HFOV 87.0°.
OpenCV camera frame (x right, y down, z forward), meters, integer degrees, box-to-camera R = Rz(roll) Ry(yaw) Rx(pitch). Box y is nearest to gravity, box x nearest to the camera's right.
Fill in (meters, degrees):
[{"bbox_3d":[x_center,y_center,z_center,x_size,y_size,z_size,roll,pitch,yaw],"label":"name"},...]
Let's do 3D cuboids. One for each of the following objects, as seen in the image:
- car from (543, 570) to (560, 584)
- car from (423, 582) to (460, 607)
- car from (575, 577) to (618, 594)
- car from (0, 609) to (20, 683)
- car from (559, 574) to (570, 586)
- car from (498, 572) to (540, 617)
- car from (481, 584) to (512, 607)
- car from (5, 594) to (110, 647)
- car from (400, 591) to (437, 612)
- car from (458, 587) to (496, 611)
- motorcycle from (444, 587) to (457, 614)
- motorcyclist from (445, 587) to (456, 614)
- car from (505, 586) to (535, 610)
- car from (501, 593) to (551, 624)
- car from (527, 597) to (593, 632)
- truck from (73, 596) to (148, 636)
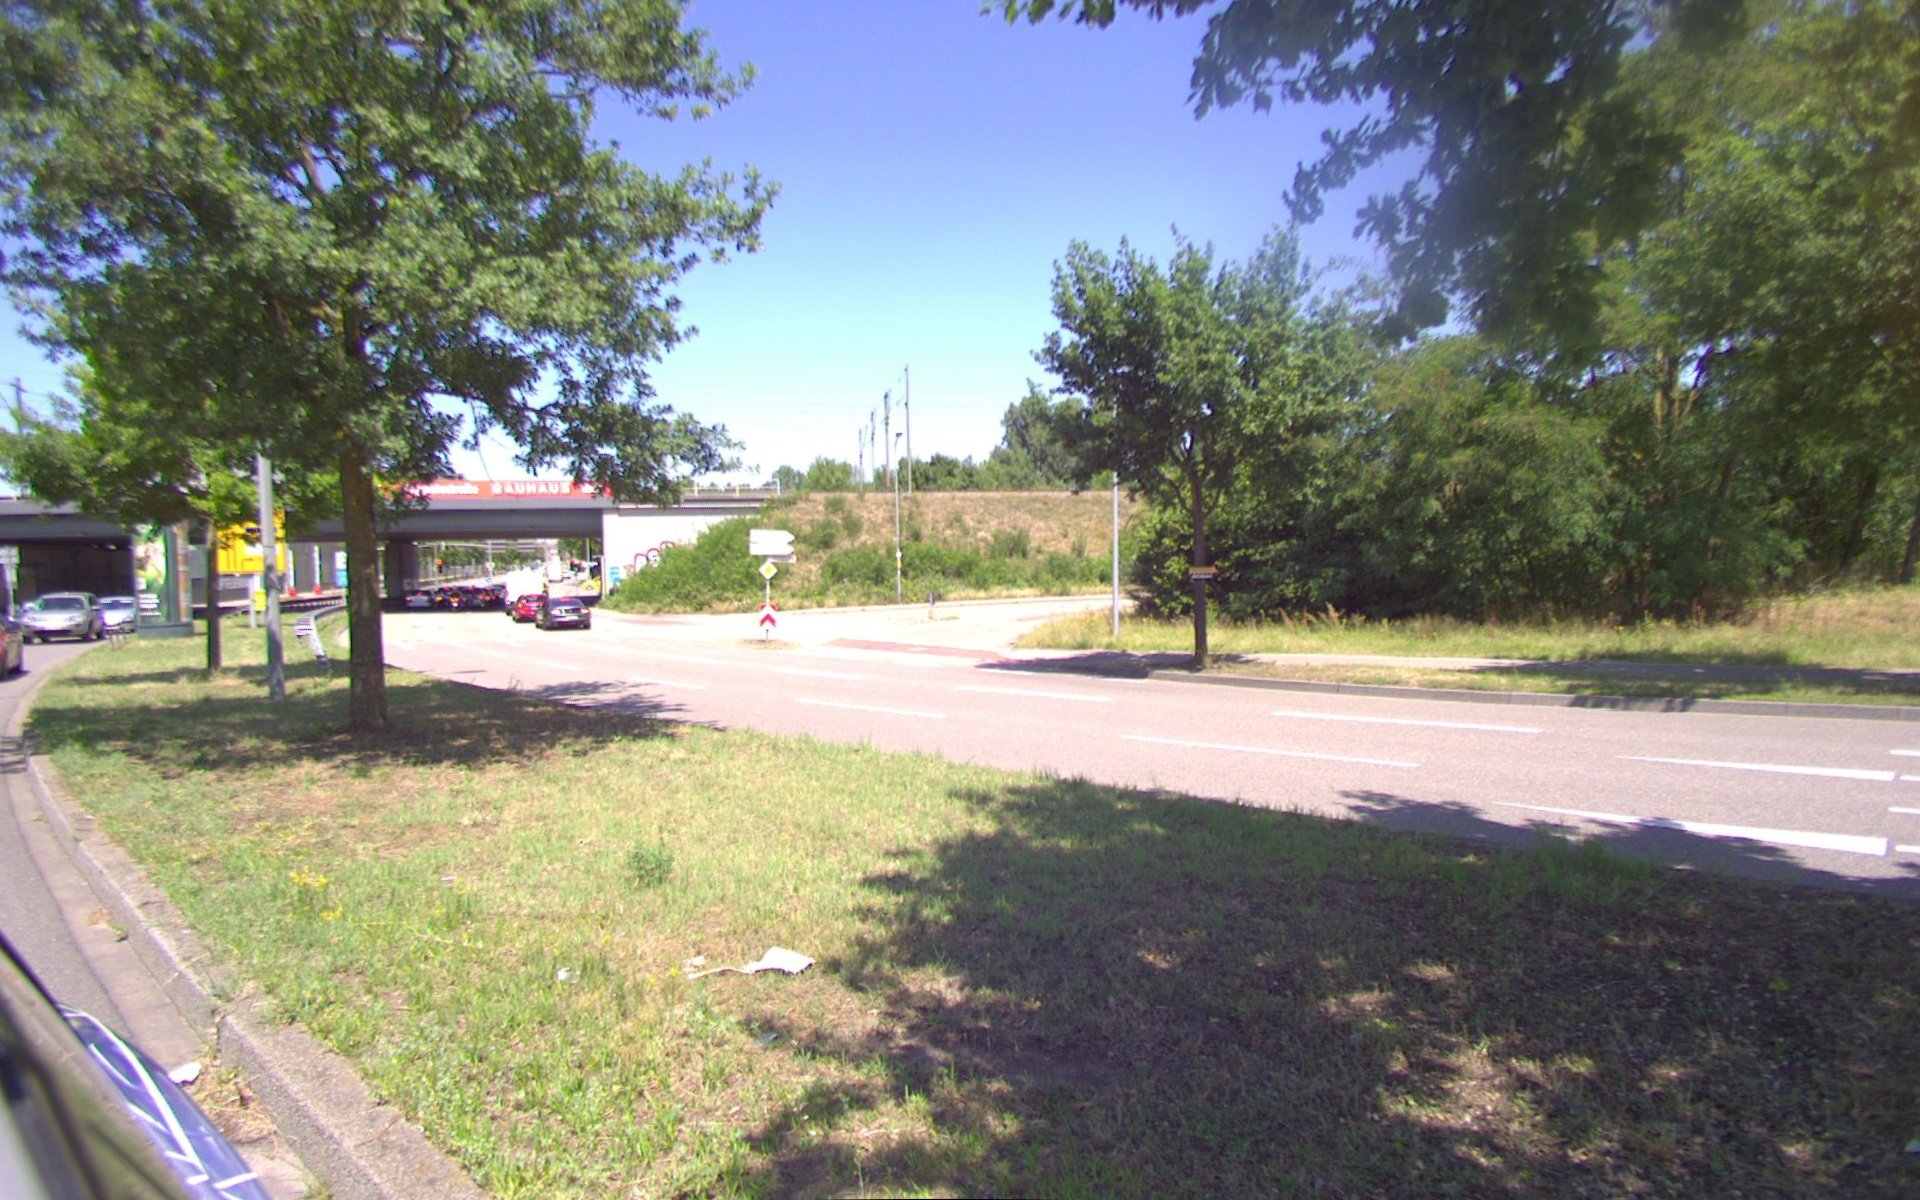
[{"bbox_3d":[-64.200,-3.663,158.969,1.966,2.118,6.403,-1,1,-18],"label":"car"},{"bbox_3d":[-40.930,-0.443,79.967,1.876,1.873,4.012,-1,1,-17],"label":"car"},{"bbox_3d":[-40.750,-1.649,113.664,4.251,1.873,1.876,-1,1,-9],"label":"car"},{"bbox_3d":[-20.494,0.908,20.756,1.622,1.409,4.059,0,0,-41],"label":"car"},{"bbox_3d":[-70.396,-3.616,180.254,1.678,2.028,4.013,-1,1,-19],"label":"car"},{"bbox_3d":[-26.525,-0.292,60.770,2.065,2.519,5.828,-1,-1,-26],"label":"car"},{"bbox_3d":[-40.021,-0.409,87.408,1.876,1.873,4.012,-1,1,-17],"label":"car"},{"bbox_3d":[-31.696,0.670,35.654,1.815,1.708,3.712,-1,2,-26],"label":"car"},{"bbox_3d":[-36.336,0.077,67.977,1.611,1.413,4.235,0,1,-20],"label":"car"},{"bbox_3d":[-32.362,-0.071,67.842,1.612,1.579,4.084,0,0,-16],"label":"car"},{"bbox_3d":[-32.040,0.011,63.656,0.589,1.691,2.433,-1,1,-24],"label":"motorcycle"},{"bbox_3d":[-31.983,0.033,63.541,0.579,1.638,0.564,-1,1,-24],"label":"motorcyclist"},{"bbox_3d":[-33.274,-0.152,76.595,1.747,1.680,4.028,-1,1,-19],"label":"car"},{"bbox_3d":[-22.148,0.395,51.562,1.805,1.448,4.540,-2,2,-30],"label":"car"},{"bbox_3d":[-17.565,0.592,44.284,1.785,1.343,4.582,-2,2,-33],"label":"car"},{"bbox_3d":[-35.571,0.630,42.464,1.703,1.513,4.012,-2,2,-30],"label":"truck"}]
